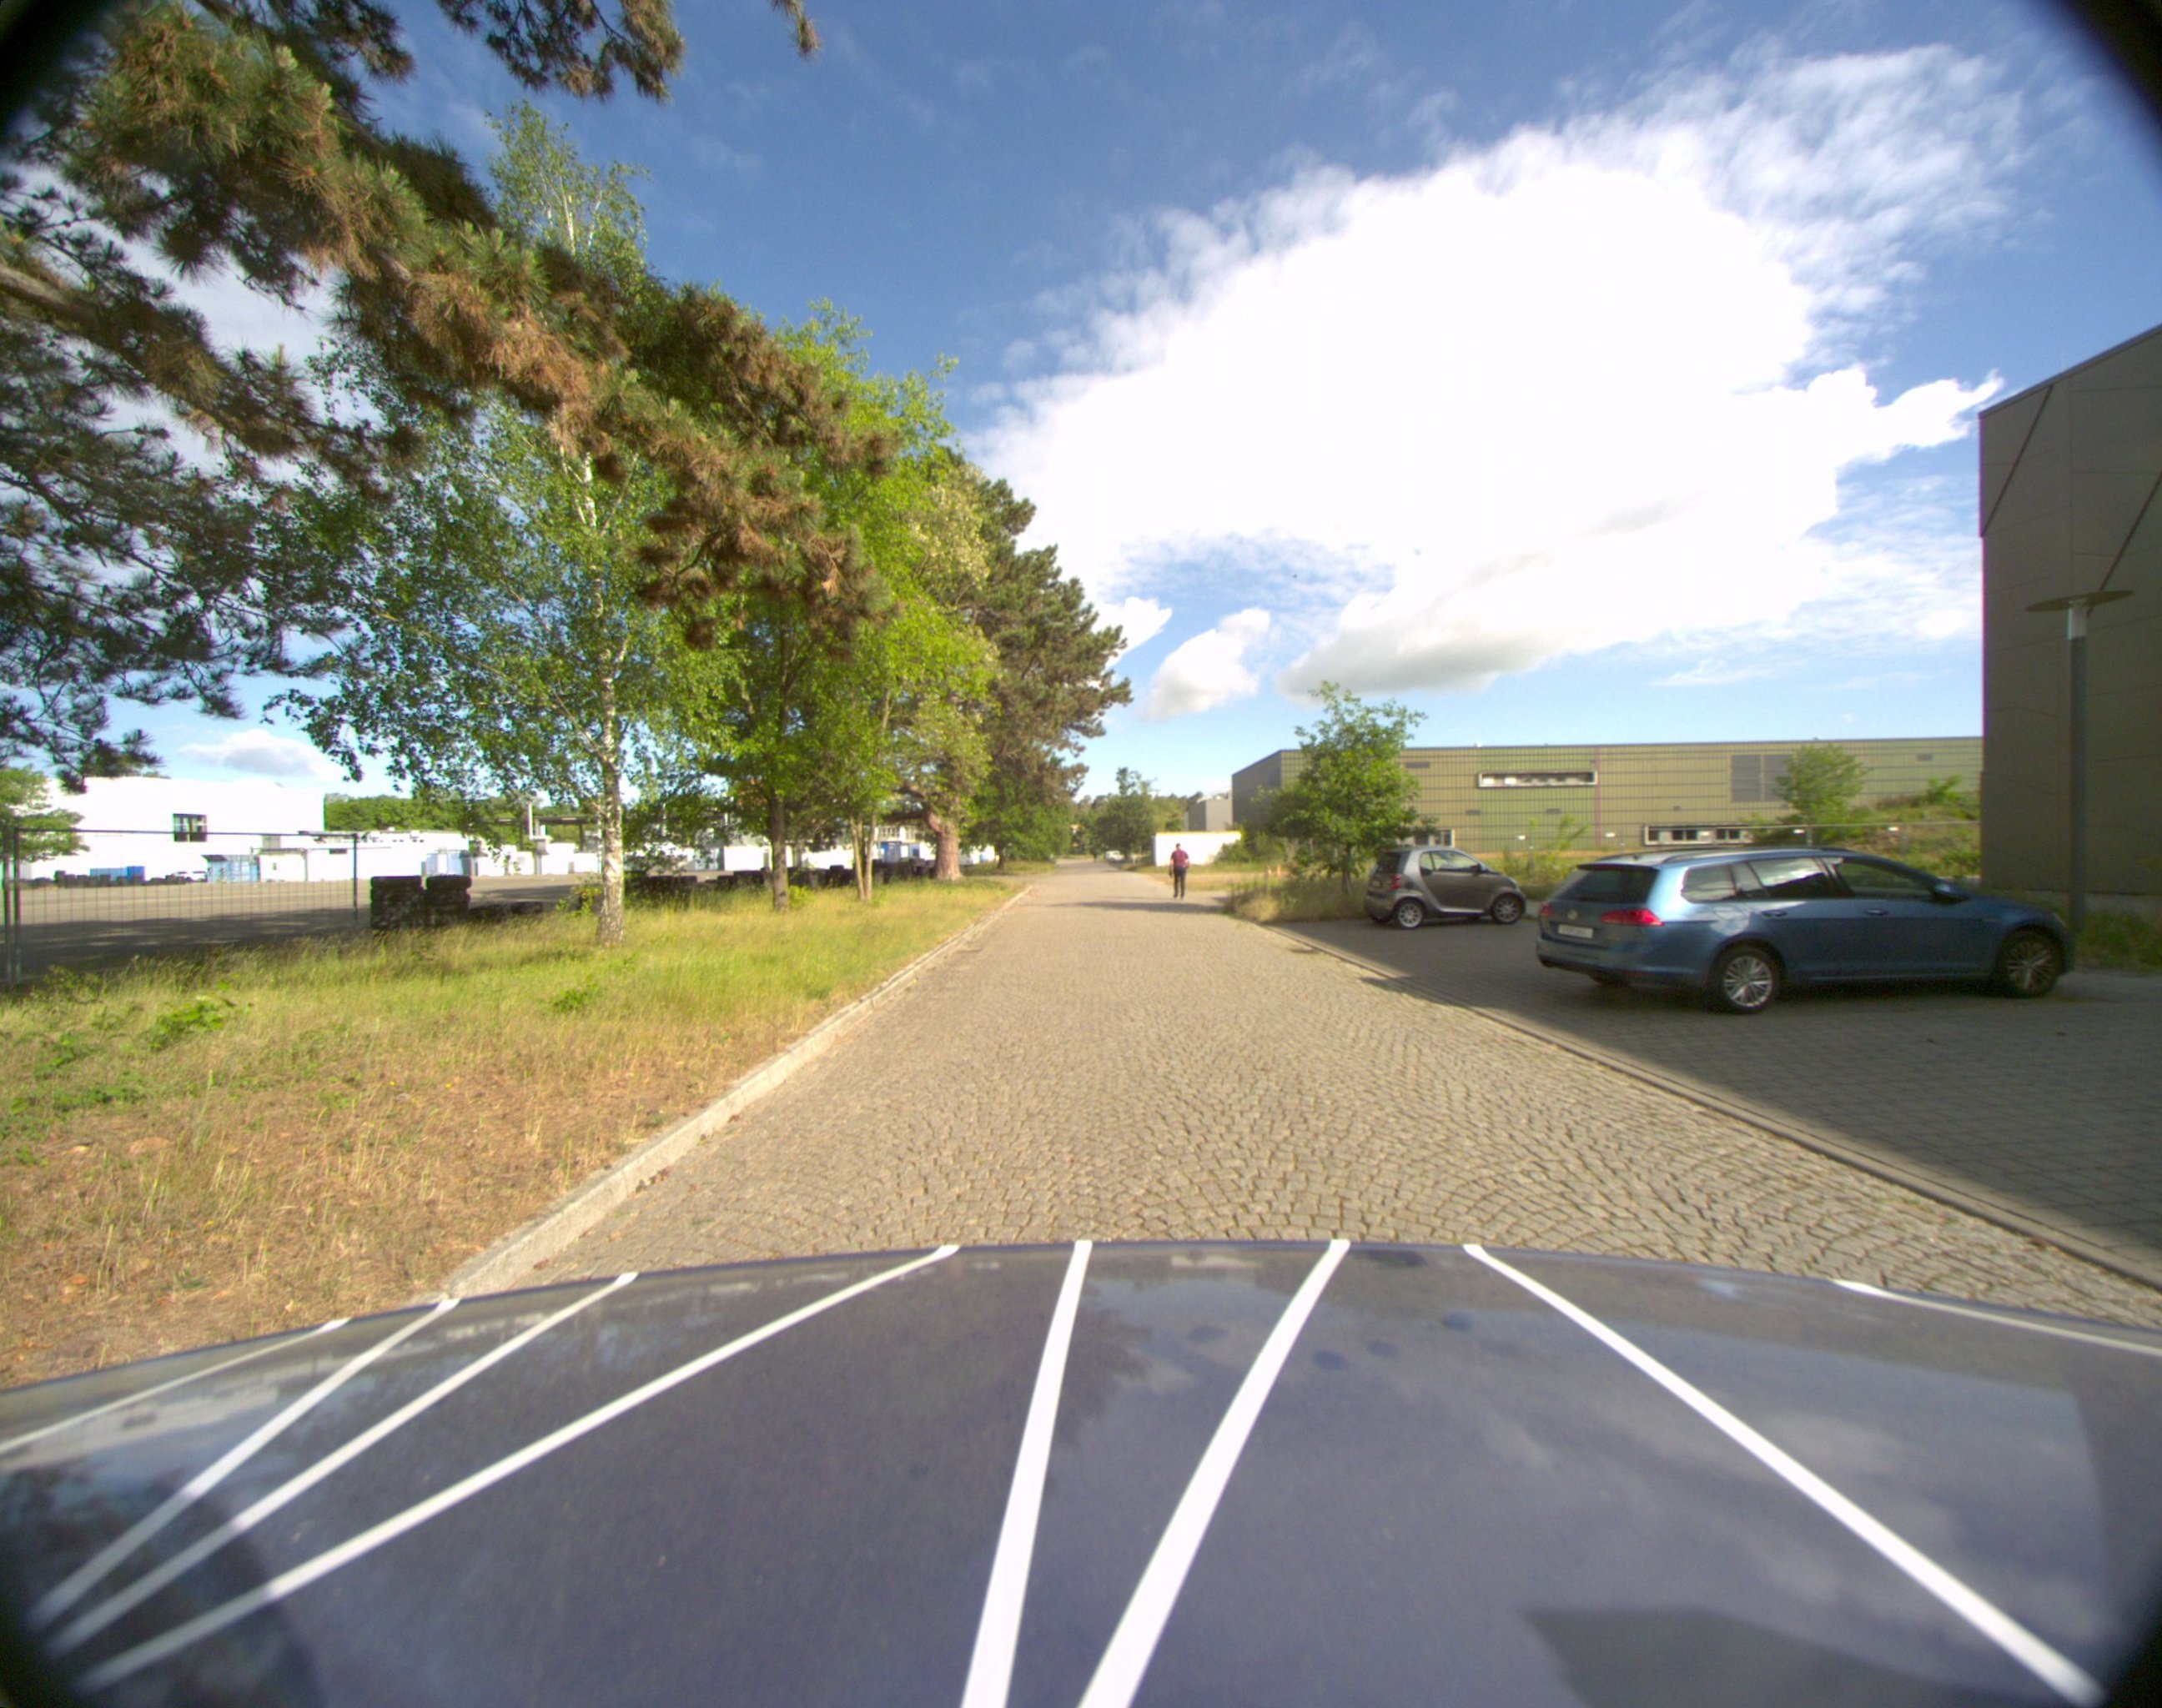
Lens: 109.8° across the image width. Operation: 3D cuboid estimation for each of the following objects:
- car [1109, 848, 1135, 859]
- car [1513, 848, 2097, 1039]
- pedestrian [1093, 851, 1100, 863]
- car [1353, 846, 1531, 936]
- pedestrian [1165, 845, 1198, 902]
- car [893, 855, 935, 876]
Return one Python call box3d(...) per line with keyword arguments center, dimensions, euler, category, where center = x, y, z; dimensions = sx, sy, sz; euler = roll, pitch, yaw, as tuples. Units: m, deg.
box3d(center=(6.613, -0.131, 122.222), dimensions=(3.996, 1.678, 2.000), euler=(-1, 1, 3), category="car")
box3d(center=(6.903, 0.774, 7.543), dimensions=(4.268, 1.455, 1.680), euler=(-3, 1, -2), category="car")
box3d(center=(2.329, 0.434, 113.188), dimensions=(0.908, 1.797, 0.983), euler=(-1, 1, -7), category="pedestrian")
box3d(center=(6.975, 0.684, 14.860), dimensions=(2.706, 1.533, 1.518), euler=(-3, 1, -1), category="car")
box3d(center=(3.202, 0.618, 24.292), dimensions=(0.806, 1.761, 1.152), euler=(-1, 1, -4), category="pedestrian")
box3d(center=(-12.346, 0.812, 56.485), dimensions=(1.846, 1.440, 4.001), euler=(-1, 1, 6), category="car")
